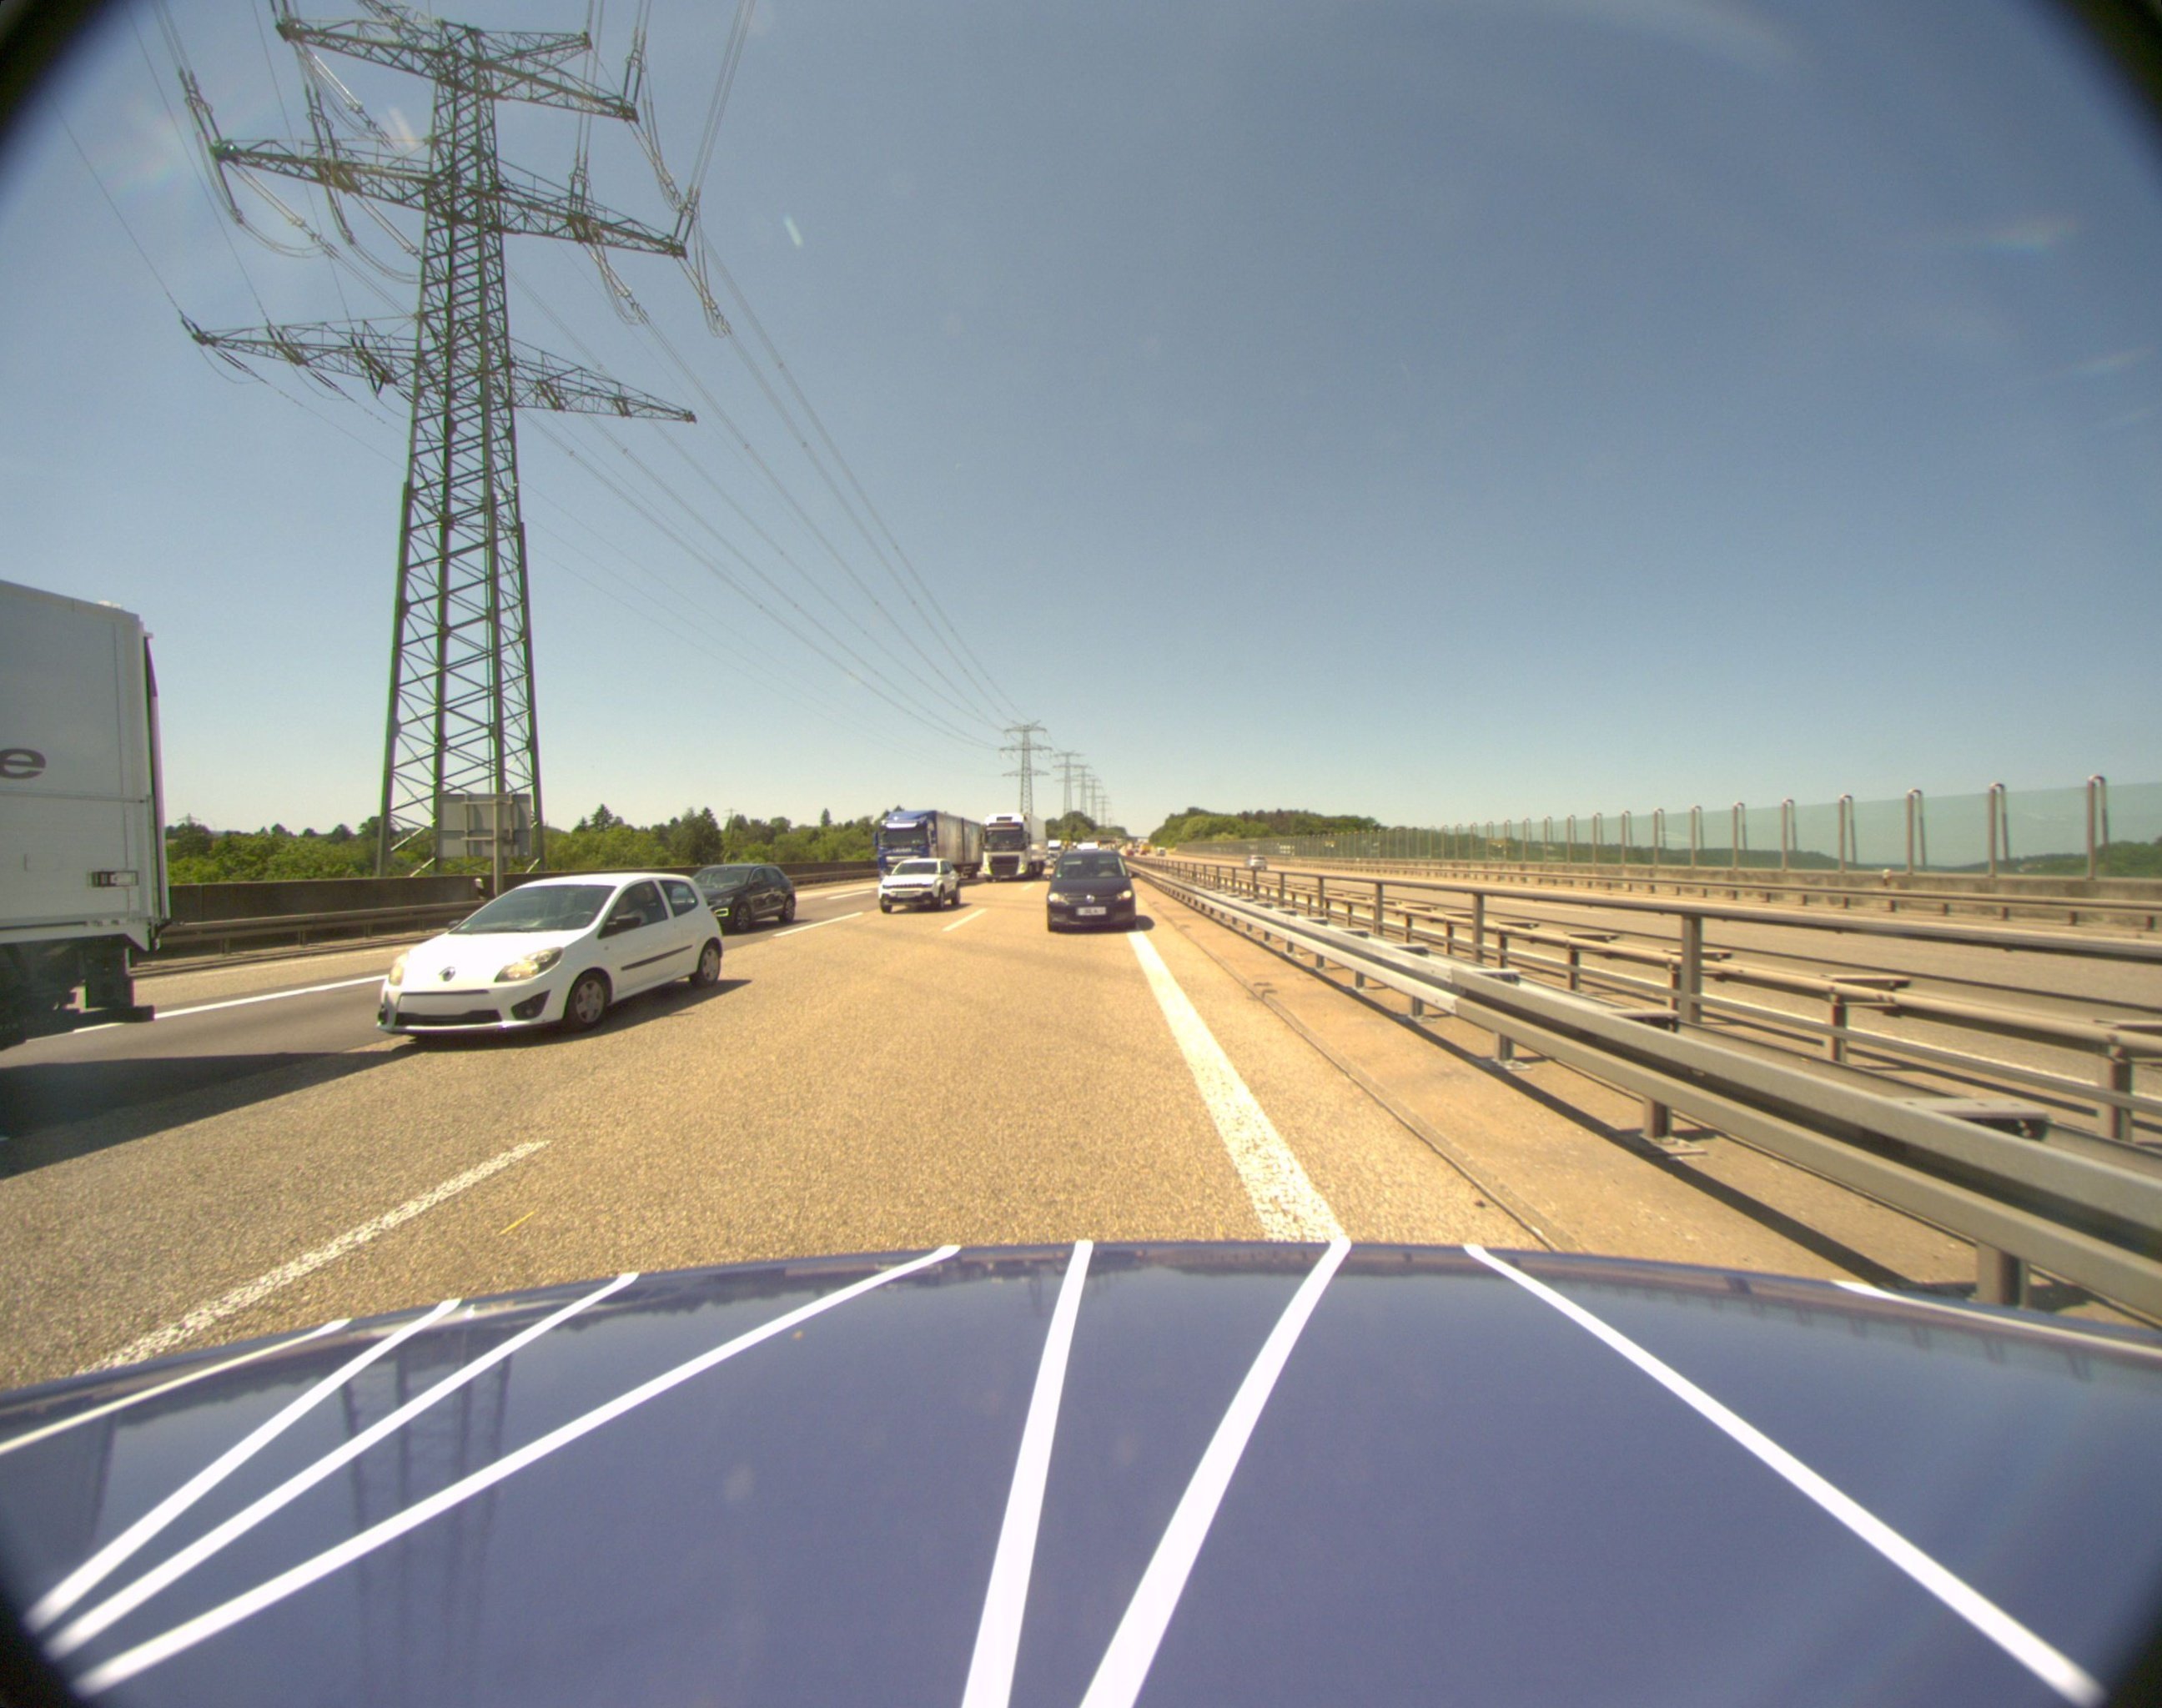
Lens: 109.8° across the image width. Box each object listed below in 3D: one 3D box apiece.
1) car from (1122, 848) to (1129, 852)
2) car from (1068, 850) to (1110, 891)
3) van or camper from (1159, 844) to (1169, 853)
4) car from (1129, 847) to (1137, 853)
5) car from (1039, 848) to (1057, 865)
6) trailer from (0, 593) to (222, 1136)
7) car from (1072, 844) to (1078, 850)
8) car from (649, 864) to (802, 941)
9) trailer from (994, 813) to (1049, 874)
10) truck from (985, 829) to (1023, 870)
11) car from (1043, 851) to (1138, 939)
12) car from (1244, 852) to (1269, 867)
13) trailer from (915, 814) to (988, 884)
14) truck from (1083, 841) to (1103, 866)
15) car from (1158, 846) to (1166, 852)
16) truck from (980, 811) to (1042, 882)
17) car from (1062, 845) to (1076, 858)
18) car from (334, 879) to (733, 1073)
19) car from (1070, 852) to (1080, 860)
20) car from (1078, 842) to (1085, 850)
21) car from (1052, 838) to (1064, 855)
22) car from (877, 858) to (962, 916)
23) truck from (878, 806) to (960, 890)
[{"bbox_3d":[13.408,-1.135,227.740,1.901,1.307,4.371,0,0,1],"label":"car"},{"bbox_3d":[0.332,0.661,32.797,1.685,1.607,3.642,-2,0,0],"label":"car"},{"bbox_3d":[22.126,-1.518,203.503,1.998,2.199,5.536,1,1,0],"label":"van or camper"},{"bbox_3d":[13.562,-1.083,198.047,1.846,1.438,4.418,-2,1,1],"label":"car"},{"bbox_3d":[-3.531,0.239,82.525,1.672,1.761,3.846,-2,1,1],"label":"car"},{"bbox_3d":[-8.573,0.117,2.058,2.851,3.573,8.291,-2,0,1],"label":"trailer"},{"bbox_3d":[-1.980,-2.187,241.723,1.701,1.599,3.639,-2,1,1],"label":"car"},{"bbox_3d":[-8.238,1.062,18.044,1.709,1.497,3.888,-2,0,1],"label":"car"},{"bbox_3d":[-4.051,-0.767,54.103,2.898,3.847,9.773,-2,1,1],"label":"trailer"},{"bbox_3d":[-7.810,-0.520,77.861,2.914,3.870,6.739,-2,1,0],"label":"truck"},{"bbox_3d":[0.188,0.765,16.236,1.739,1.607,3.911,-2,0,0],"label":"car"},{"bbox_3d":[17.379,0.555,75.441,1.608,1.386,3.676,1,1,1],"label":"car"},{"bbox_3d":[-8.240,-0.379,49.801,2.543,3.971,10.884,-2,1,1],"label":"trailer"},{"bbox_3d":[1.345,-0.102,84.483,2.100,2.700,5.864,-2,1,1],"label":"truck"},{"bbox_3d":[22.168,-1.294,208.400,1.860,1.536,4.200,1,1,0],"label":"car"},{"bbox_3d":[-4.111,-0.489,45.843,2.914,3.870,6.739,-2,1,0],"label":"truck"},{"bbox_3d":[-1.831,-0.411,116.859,1.998,2.002,3.999,-2,1,1],"label":"car"},{"bbox_3d":[-5.386,1.077,8.141,1.583,1.432,3.629,-2,0,0],"label":"car"},{"bbox_3d":[-1.137,0.401,149.874,1.701,1.599,3.639,-2,1,1],"label":"car"},{"bbox_3d":[0.035,-2.301,214.728,1.890,2.002,3.999,-2,1,1],"label":"car"},{"bbox_3d":[-4.777,-1.602,159.648,2.273,3.304,6.288,-2,1,0],"label":"car"},{"bbox_3d":[-4.799,0.927,23.077,1.722,1.526,3.753,-2,0,0],"label":"car"},{"bbox_3d":[-8.382,-0.313,40.408,2.517,3.945,7.926,-2,0,0],"label":"truck"}]
